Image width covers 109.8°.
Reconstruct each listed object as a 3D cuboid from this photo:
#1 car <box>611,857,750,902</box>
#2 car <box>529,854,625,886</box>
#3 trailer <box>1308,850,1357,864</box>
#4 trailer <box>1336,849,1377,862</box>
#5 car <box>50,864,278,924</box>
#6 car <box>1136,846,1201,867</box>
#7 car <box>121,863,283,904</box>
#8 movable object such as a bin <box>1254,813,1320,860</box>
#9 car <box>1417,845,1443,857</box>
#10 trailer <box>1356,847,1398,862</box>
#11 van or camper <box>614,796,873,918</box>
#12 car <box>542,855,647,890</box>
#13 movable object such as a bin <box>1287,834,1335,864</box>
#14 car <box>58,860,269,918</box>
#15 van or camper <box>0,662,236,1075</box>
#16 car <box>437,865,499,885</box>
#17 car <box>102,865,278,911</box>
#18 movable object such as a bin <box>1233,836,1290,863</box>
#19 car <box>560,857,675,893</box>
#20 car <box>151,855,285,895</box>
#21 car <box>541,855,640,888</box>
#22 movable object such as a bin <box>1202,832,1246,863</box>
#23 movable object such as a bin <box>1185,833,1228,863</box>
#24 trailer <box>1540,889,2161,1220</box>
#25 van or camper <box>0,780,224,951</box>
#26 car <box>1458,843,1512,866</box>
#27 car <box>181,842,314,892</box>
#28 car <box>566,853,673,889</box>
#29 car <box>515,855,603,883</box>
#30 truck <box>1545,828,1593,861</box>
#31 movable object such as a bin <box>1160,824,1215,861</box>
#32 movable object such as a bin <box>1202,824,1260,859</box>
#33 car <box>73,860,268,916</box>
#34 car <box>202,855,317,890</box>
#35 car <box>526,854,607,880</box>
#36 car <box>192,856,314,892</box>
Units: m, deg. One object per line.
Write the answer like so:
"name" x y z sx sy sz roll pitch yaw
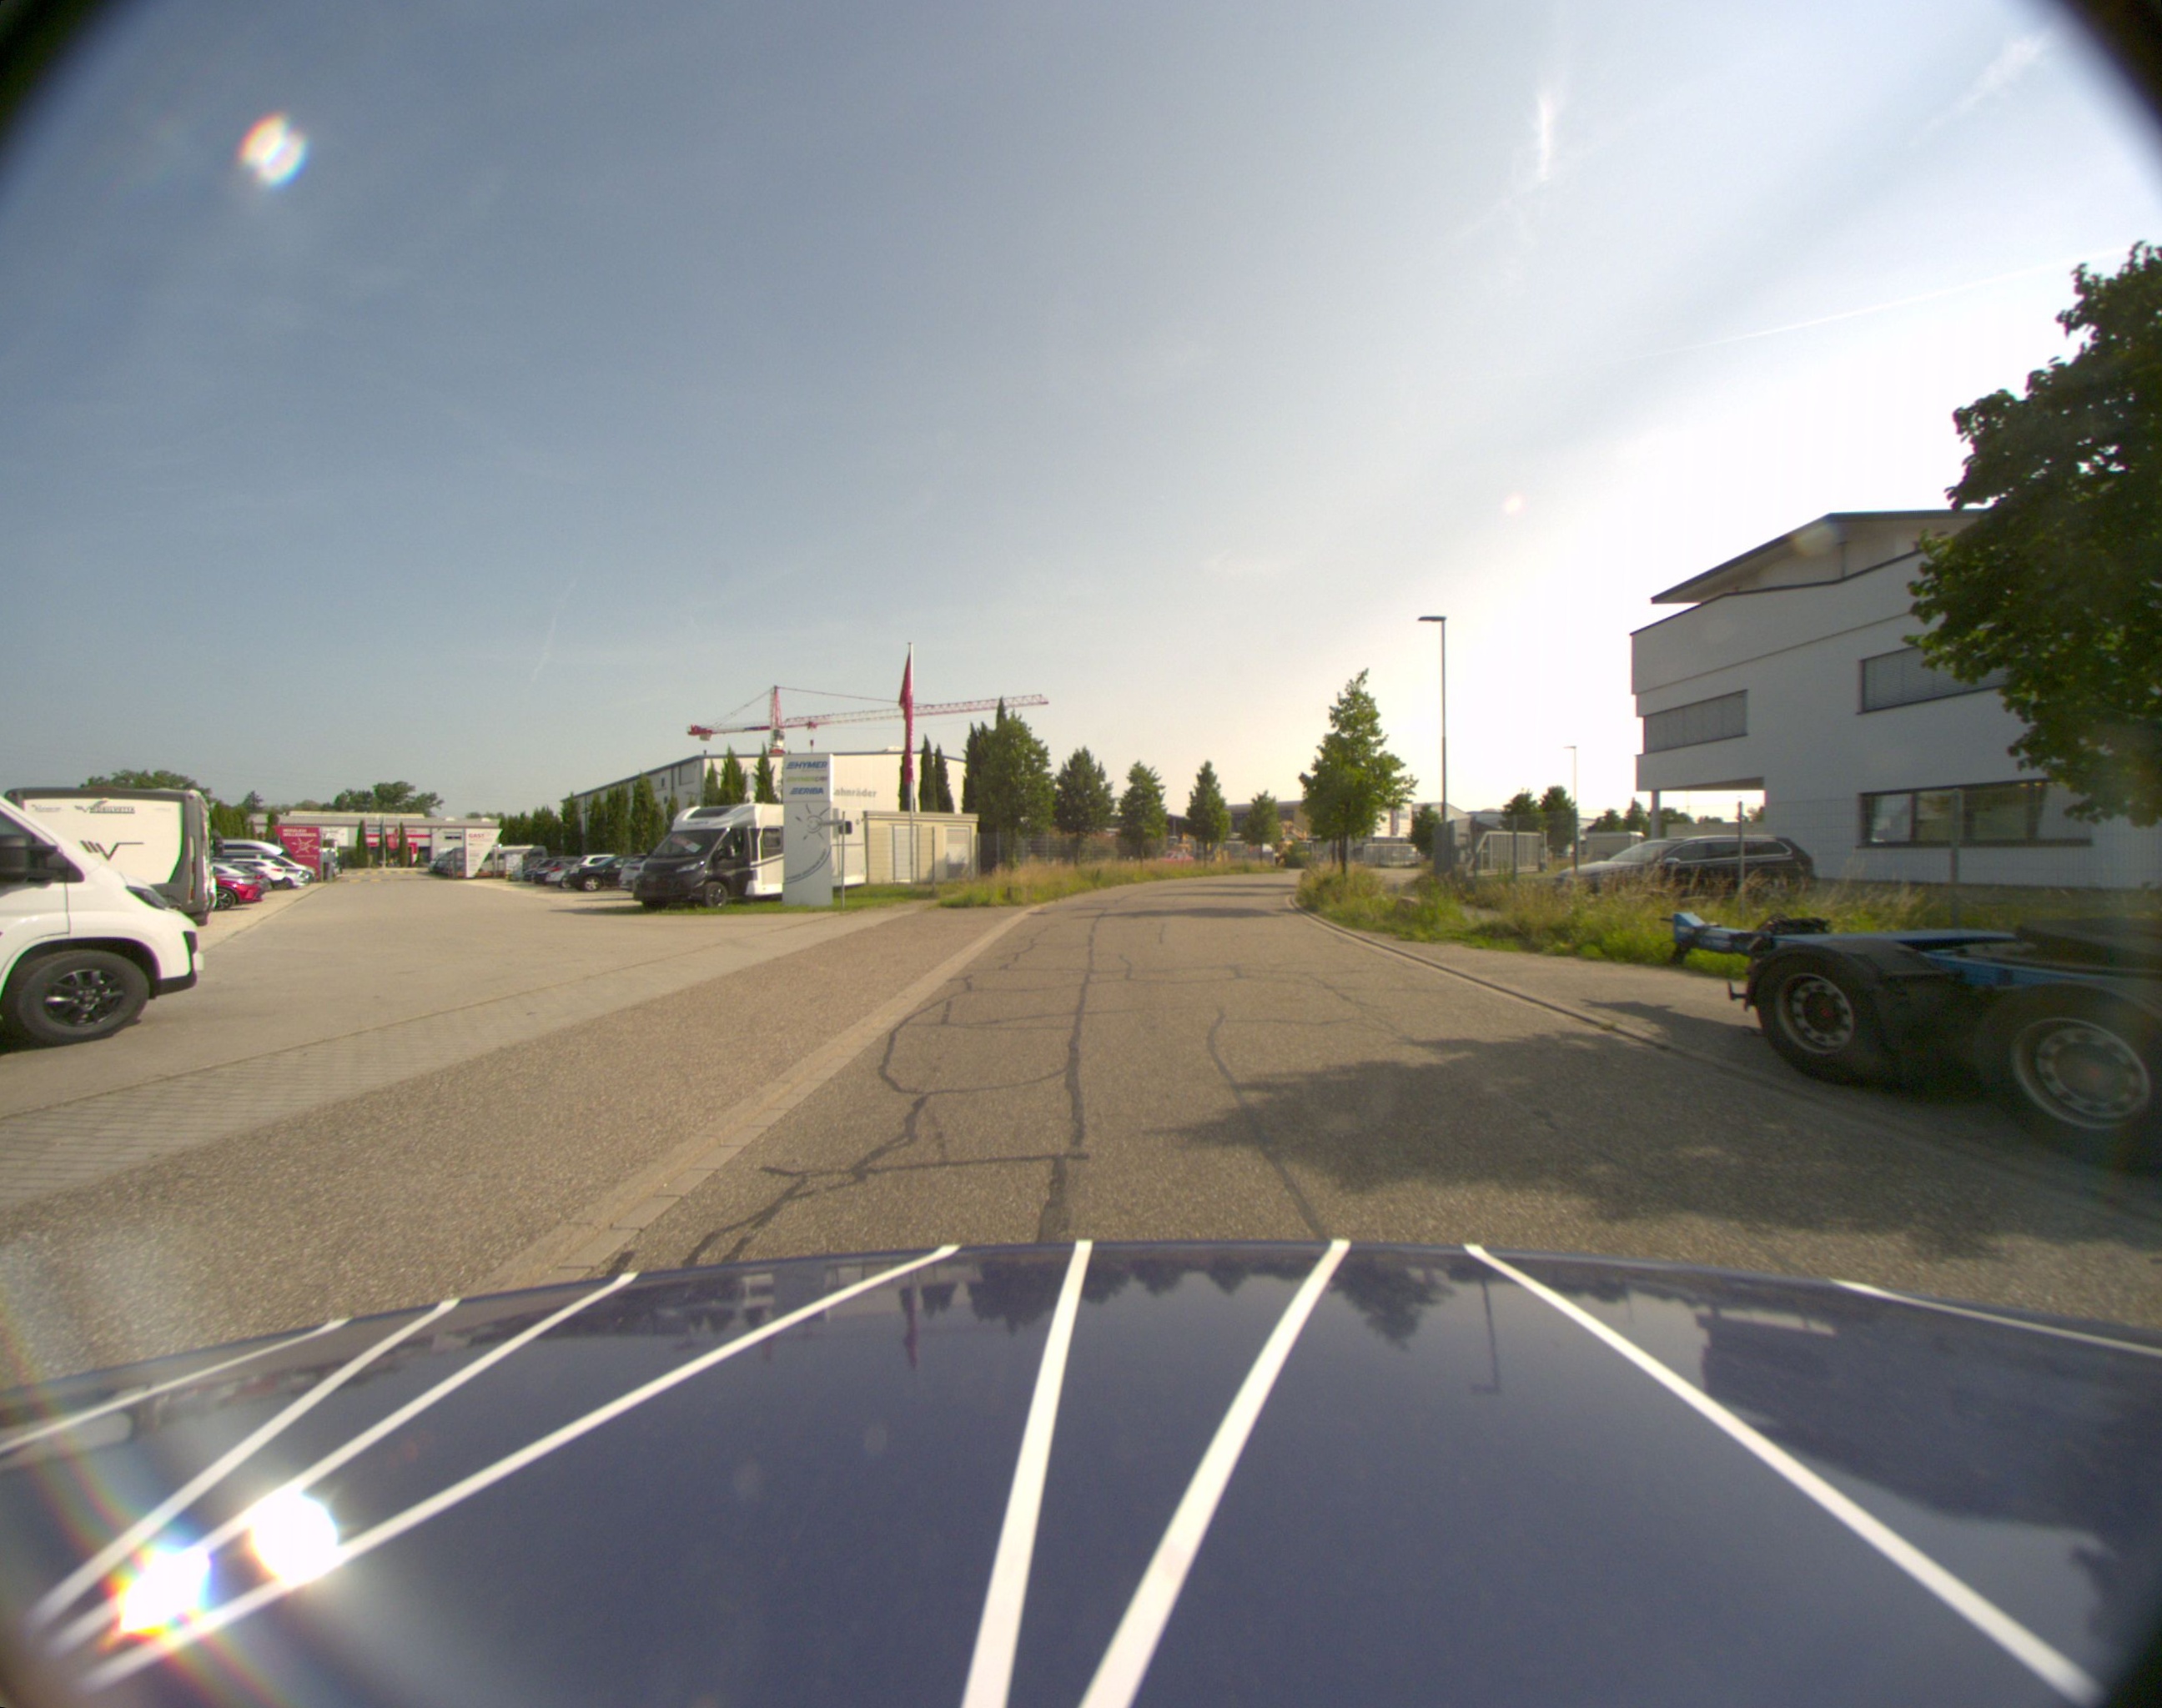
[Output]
"car" -14.108 0.836 26.912 1.710 1.471 4.009 1 0 41
"car" -26.974 0.830 40.743 1.710 1.607 4.009 1 0 41
"trailer" 22.546 0.257 68.070 4.805 1.236 2.127 -1 1 -44
"trailer" 25.989 0.132 71.617 4.302 1.236 1.945 -1 1 -44
"car" -25.986 1.100 21.741 1.711 1.408 4.008 -3 0 41
"car" 6.084 0.180 52.456 1.881 1.350 4.783 0 0 44
"car" -33.705 1.107 29.318 1.538 1.364 3.954 -3 -1 45
"movable object such as a bin" 22.046 -1.764 80.936 7.689 4.778 3.317 -1 1 -44
"car" 46.774 -0.432 101.743 1.890 1.547 4.380 -1 0 43
"trailer" 29.289 0.025 75.155 4.572 1.303 1.994 -2 1 -41
"van or camper" -8.980 -0.037 21.450 2.352 2.832 7.348 -1 2 17
"car" -23.766 0.875 37.217 1.710 1.607 4.009 1 0 41
"movable object such as a bin" 21.526 -0.513 70.998 5.170 2.736 1.887 -1 1 -42
"car" -28.132 1.025 23.538 1.711 1.487 4.008 -3 0 44
"van or camper" -9.189 0.124 3.406 2.335 2.926 6.976 -1 0 10
"car" -54.182 1.825 67.205 1.710 1.607 4.009 1 0 41
"car" -31.934 1.183 27.431 3.954 1.451 1.538 -1 -1 -44
"movable object such as a bin" 17.580 -0.457 73.923 5.349 2.477 2.923 -1 1 -42
"car" -20.278 0.872 33.353 1.710 1.471 4.009 1 0 41
"car" -39.842 0.953 35.223 3.954 1.659 1.538 -2 -1 -44
"car" -25.286 0.847 39.264 1.710 1.607 4.009 1 0 41
"movable object such as a bin" 14.395 -0.661 76.355 4.501 3.014 1.993 -1 1 -42
"movable object such as a bin" 12.927 -0.631 78.169 4.382 3.014 1.993 -1 1 -42
"trailer" 5.997 0.970 5.283 2.580 1.093 5.201 -2 0 2
"van or camper" -20.957 0.220 16.787 7.261 3.014 2.590 -1 1 42
"car" 29.175 0.036 54.778 4.441 1.458 1.995 -2 -1 -42
"car" -46.209 0.675 42.277 4.707 2.584 1.711 -1 1 -38
"car" -21.770 0.778 35.931 1.710 1.607 4.009 1 0 41
"car" -30.806 0.851 44.907 1.710 1.607 4.009 1 0 41
"truck" 62.672 -1.272 97.428 9.706 3.993 2.746 -1 3 -43
"movable object such as a bin" 11.314 -1.215 80.490 5.729 3.851 2.685 -1 1 -42
"movable object such as a bin" 17.137 -1.389 86.443 7.222 3.906 2.919 -1 1 -44
"car" -30.137 1.082 25.363 3.953 1.582 1.711 -2 0 -44
"car" -42.723 0.943 39.642 3.954 1.659 1.538 -2 -1 -44
"car" -33.282 0.812 49.217 1.710 1.607 4.009 1 0 41
"car" -40.961 0.974 37.720 3.954 1.659 1.538 -2 -1 -44
